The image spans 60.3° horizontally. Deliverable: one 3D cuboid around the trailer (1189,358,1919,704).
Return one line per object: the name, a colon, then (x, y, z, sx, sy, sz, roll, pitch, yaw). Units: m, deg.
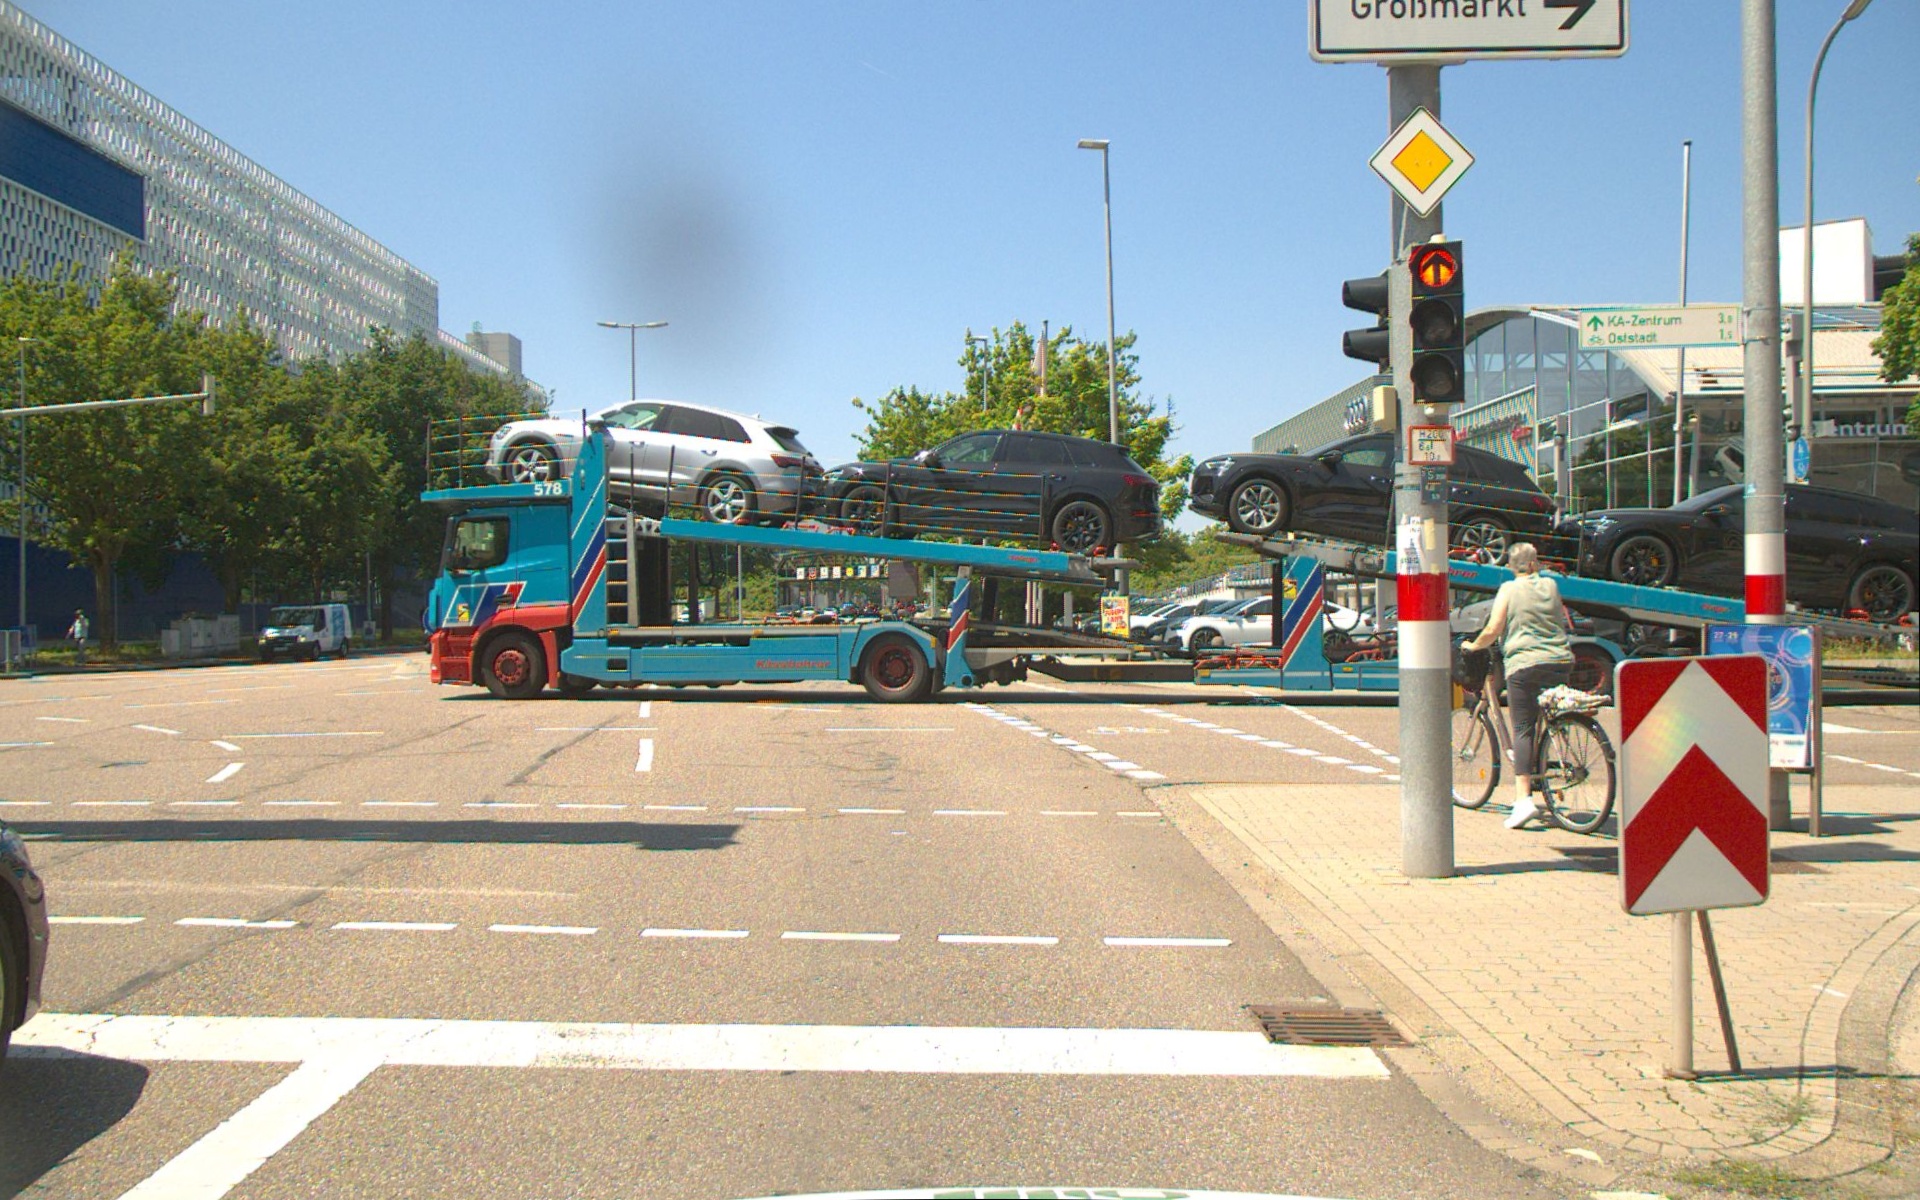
trailer: (7.813, -0.802, 21.889, 9.407, 4.153, 3.097, 0, 0, 7)

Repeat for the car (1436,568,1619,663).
car: (10.772, 0.258, 31.730, 1.953, 1.668, 4.267, -1, 1, -1)

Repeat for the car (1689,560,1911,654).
car: (16.164, 0.102, 32.119, 1.953, 1.668, 4.440, -1, 1, -1)

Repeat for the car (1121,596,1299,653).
car: (6.995, 0.679, 46.627, 4.647, 1.482, 1.999, -1, 1, -3)

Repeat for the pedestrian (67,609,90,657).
pedestrian: (-28.407, 1.058, 53.277, 0.452, 1.508, 0.484, -1, -1, 3)

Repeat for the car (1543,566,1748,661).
car: (13.113, 0.217, 31.970, 1.953, 1.668, 4.556, -1, 1, -1)

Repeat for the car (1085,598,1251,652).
car: (6.174, 0.725, 49.374, 4.647, 1.482, 1.999, -1, 1, -3)

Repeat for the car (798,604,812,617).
car: (-21.078, 1.471, 225.085, 1.616, 1.682, 4.161, -1, 0, -3)

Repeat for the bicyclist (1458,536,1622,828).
bicyclist: (3.651, 0.496, 10.459, 0.719, 1.779, 0.753, 0, 0, -6)

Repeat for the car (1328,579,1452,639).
car: (15.442, 0.322, 59.527, 3.906, 2.049, 2.000, -1, 0, -1)

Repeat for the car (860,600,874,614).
car: (-12.549, 0.941, 222.671, 1.736, 1.758, 3.999, -1, 0, -1)

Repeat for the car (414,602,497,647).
car: (-19.224, 0.917, 63.187, 1.837, 1.626, 4.495, -1, 0, -1)

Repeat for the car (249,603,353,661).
car: (-24.420, 1.153, 61.476, 1.953, 2.043, 4.763, -1, 0, 0)

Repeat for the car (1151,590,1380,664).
car: (6.590, 0.563, 36.076, 4.644, 1.482, 2.000, -1, 1, 0)

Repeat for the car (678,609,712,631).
car: (-21.277, 1.602, 132.973, 1.887, 1.694, 4.089, -1, 0, 1)

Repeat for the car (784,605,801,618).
car: (-19.549, 1.362, 193.344, 1.650, 1.436, 3.664, -1, 0, -1)

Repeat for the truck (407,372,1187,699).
truck: (-2.092, -0.785, 23.164, 10.391, 4.154, 3.103, 0, 0, 7)

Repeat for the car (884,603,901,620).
car: (-4.395, 0.729, 107.839, 1.114, 1.060, 2.307, -1, 0, -1)

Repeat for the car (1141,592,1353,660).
car: (6.656, 0.617, 38.741, 4.644, 1.482, 2.000, -1, -1, 0)

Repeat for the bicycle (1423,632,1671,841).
bicycle: (3.671, 0.809, 10.539, 0.771, 1.147, 1.919, 0, 1, -5)

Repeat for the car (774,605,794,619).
car: (-18.420, 1.249, 173.399, 1.697, 1.452, 3.705, -3, 0, -1)

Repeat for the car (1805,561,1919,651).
car: (18.541, 0.071, 32.115, 1.847, 1.668, 4.523, -1, 1, -1)

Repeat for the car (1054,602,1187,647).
car: (5.957, 0.895, 61.706, 4.647, 1.482, 1.999, -2, 1, -3)

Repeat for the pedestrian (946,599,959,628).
pedestrian: (-0.419, 0.736, 89.685, 0.654, 1.537, 0.736, -1, 0, -2)

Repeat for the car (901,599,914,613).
car: (-7.031, 0.825, 222.745, 1.736, 1.758, 3.999, -1, 0, -1)

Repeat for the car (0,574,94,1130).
car: (-3.392, 0.683, 2.598, 1.764, 1.491, 4.621, 0, 0, -2)
